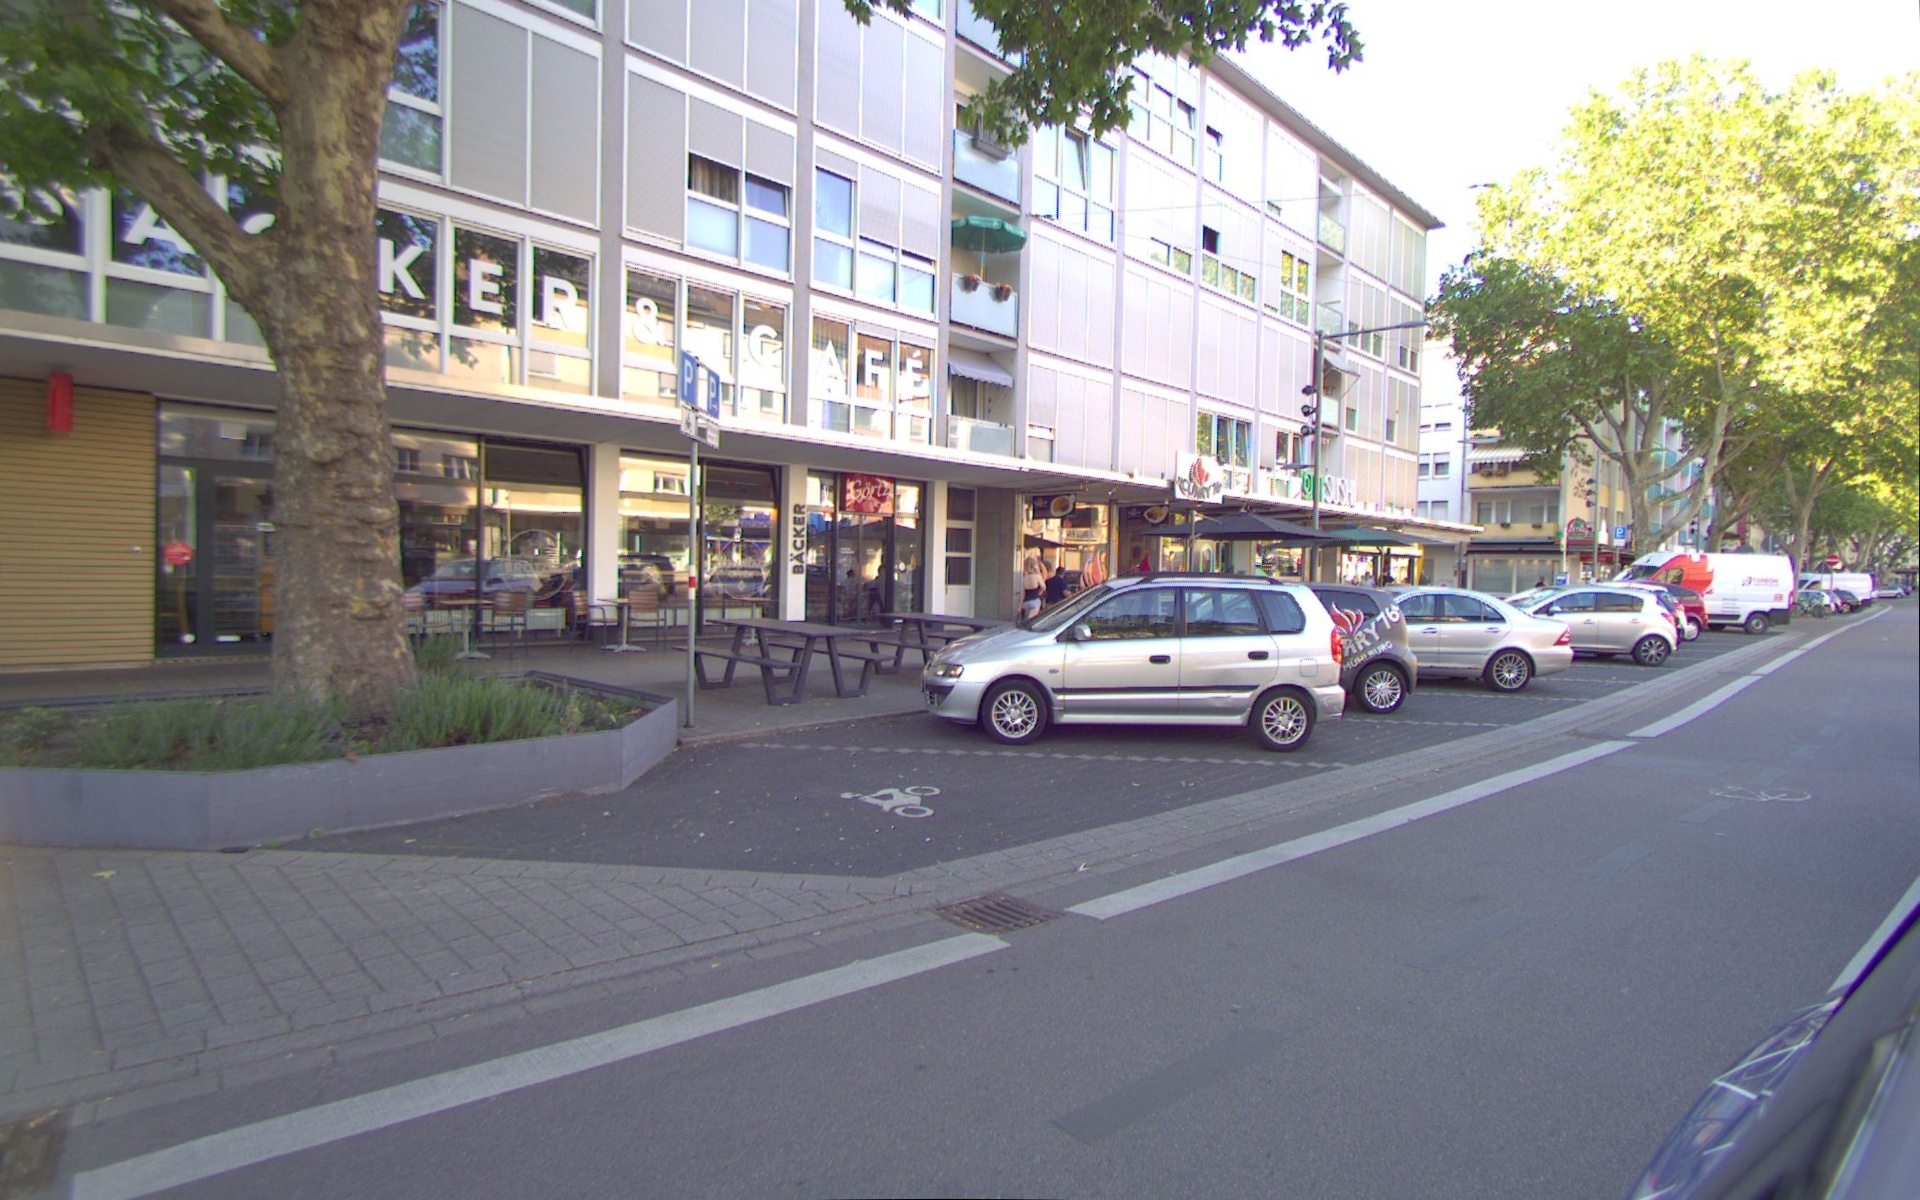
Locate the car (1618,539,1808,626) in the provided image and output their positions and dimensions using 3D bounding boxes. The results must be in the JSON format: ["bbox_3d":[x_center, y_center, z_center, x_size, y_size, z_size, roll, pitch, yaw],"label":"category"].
[{"bbox_3d":[23.749,-0.557,32.059,4.514,2.525,1.675,2,1,5],"label":"car"}]

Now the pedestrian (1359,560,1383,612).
[{"bbox_3d":[13.373,-0.458,32.908,0.536,1.660,0.470,2,2,45],"label":"pedestrian"}]

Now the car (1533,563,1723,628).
[{"bbox_3d":[18.082,-0.159,27.601,3.889,1.445,1.669,4,5,18],"label":"car"}]

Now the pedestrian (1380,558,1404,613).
[{"bbox_3d":[13.813,-0.456,32.377,0.544,1.741,0.450,2,2,45],"label":"pedestrian"}]

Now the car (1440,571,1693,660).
[{"bbox_3d":[11.765,0.258,19.834,3.871,1.446,1.559,3,3,4],"label":"car"}]

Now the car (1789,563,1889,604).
[{"bbox_3d":[56.566,-1.080,65.185,4.512,2.499,1.977,1,2,3],"label":"car"}]

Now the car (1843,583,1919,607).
[{"bbox_3d":[56.081,-0.325,61.090,3.864,1.350,1.782,1,2,3],"label":"car"}]

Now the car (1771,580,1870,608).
[{"bbox_3d":[48.027,-0.354,56.566,3.864,1.422,1.782,1,2,3],"label":"car"}]

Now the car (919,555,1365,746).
[{"bbox_3d":[1.589,0.422,9.811,3.906,1.560,1.679,2,3,-3],"label":"car"}]

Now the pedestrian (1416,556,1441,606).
[{"bbox_3d":[19.706,-0.804,42.553,0.746,2.038,0.550,3,2,45],"label":"pedestrian"}]

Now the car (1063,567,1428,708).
[{"bbox_3d":[3.336,0.401,12.316,3.864,1.446,1.679,2,3,-3],"label":"car"}]

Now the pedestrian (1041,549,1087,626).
[{"bbox_3d":[2.209,-0.272,21.417,0.757,1.602,0.583,0,2,-39],"label":"pedestrian"}]

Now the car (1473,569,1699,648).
[{"bbox_3d":[13.917,0.146,22.740,3.886,1.446,1.670,3,3,16],"label":"car"}]

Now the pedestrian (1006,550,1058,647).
[{"bbox_3d":[1.210,-0.038,16.966,0.559,1.596,0.632,2,2,44],"label":"pedestrian"}]

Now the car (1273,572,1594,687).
[{"bbox_3d":[6.811,0.383,14.834,3.867,1.418,1.598,2,3,1],"label":"car"}]

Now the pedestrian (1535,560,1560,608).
[{"bbox_3d":[24.769,-0.664,42.665,0.746,2.000,0.566,3,2,45],"label":"pedestrian"}]

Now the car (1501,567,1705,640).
[{"bbox_3d":[15.922,0.036,25.293,3.888,1.445,1.669,4,5,17],"label":"car"}]
